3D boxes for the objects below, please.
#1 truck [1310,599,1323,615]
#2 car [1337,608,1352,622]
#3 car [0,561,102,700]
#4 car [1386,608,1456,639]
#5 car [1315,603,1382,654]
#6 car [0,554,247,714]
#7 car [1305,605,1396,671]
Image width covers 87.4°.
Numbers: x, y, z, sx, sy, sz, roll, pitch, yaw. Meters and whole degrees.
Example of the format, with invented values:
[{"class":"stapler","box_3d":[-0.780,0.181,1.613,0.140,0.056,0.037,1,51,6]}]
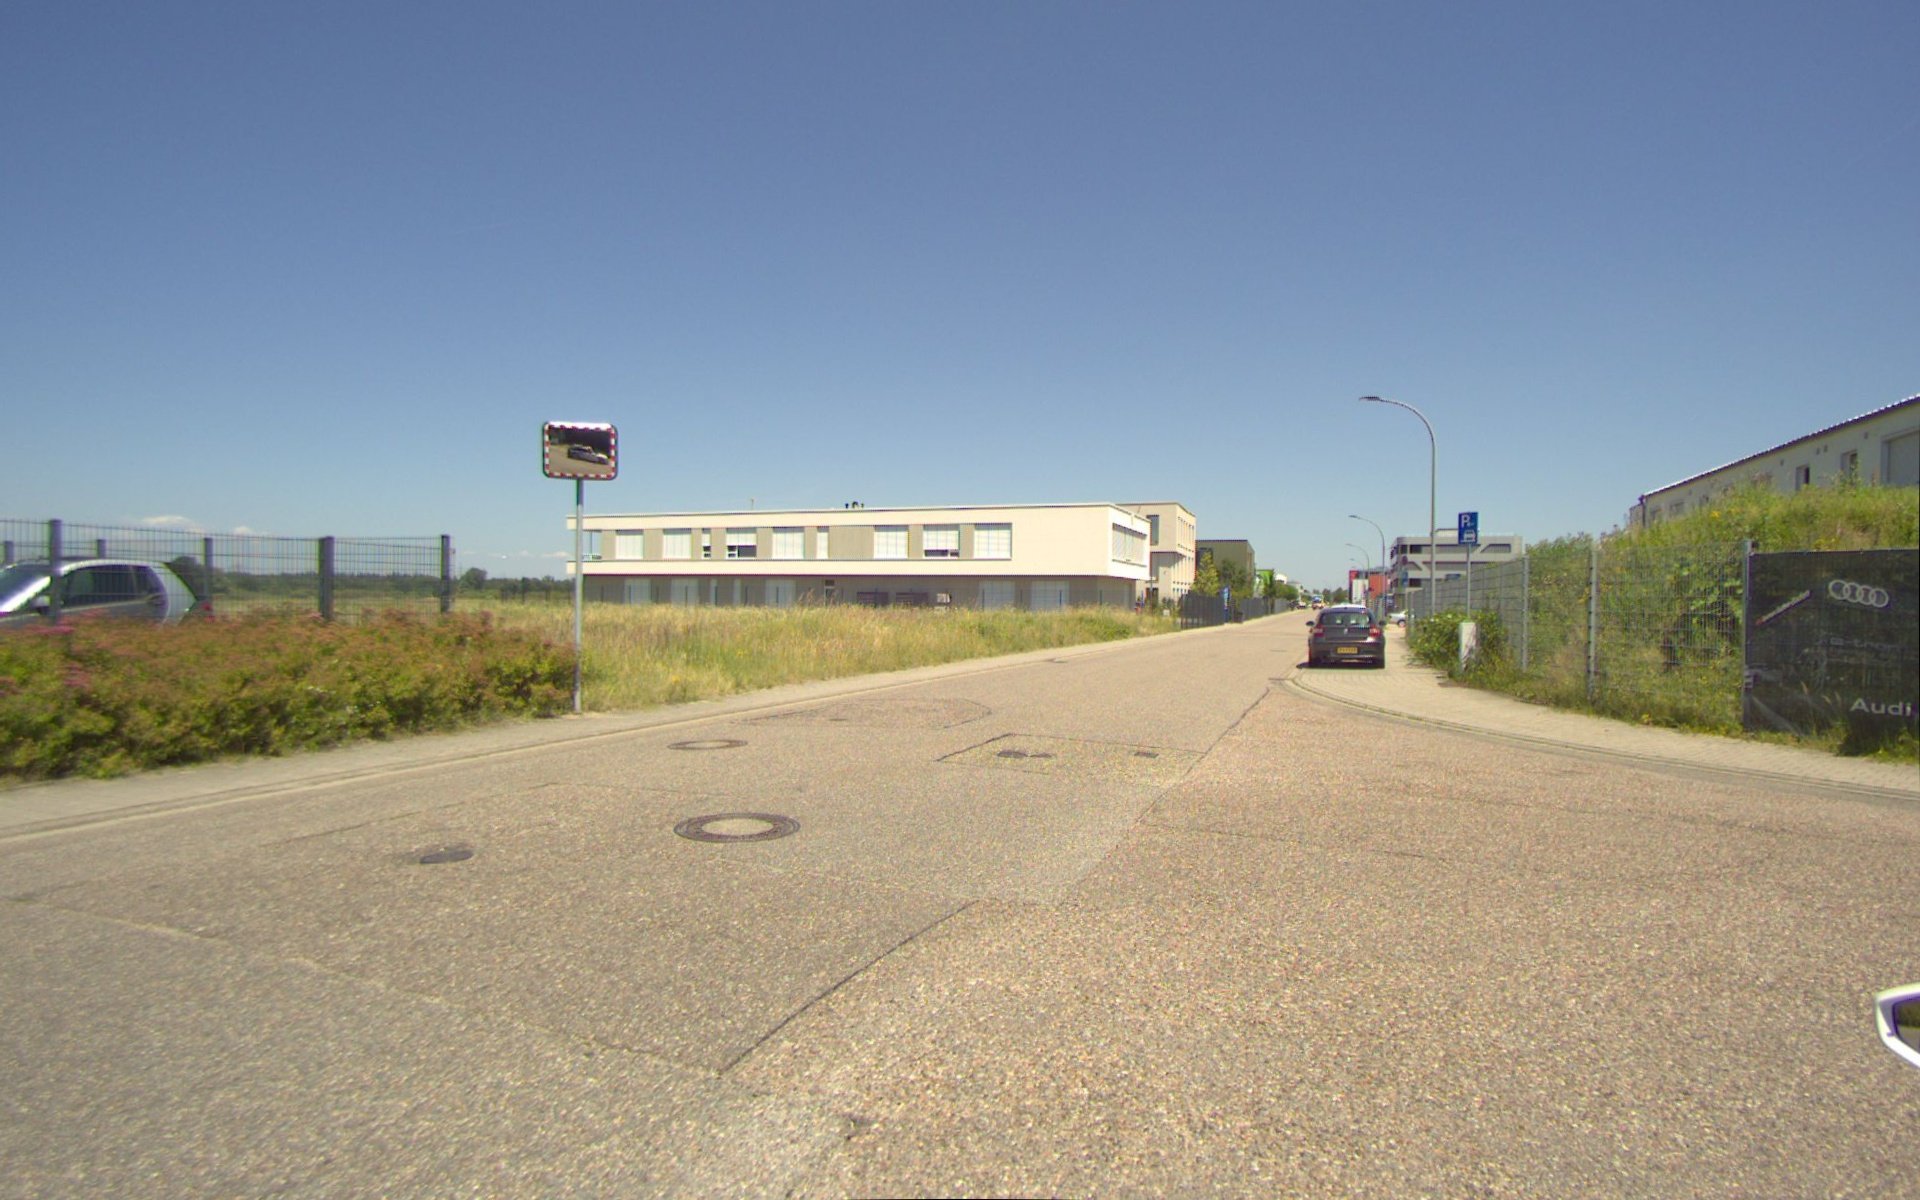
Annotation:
[{"class":"truck","box_3d":[79.596,1.548,224.631,2.556,3.592,10.501,-1,0,19]},{"class":"car","box_3d":[48.987,1.908,128.004,1.747,1.751,3.999,3,1,21]},{"class":"car","box_3d":[-11.983,0.334,10.689,1.795,1.561,4.000,1,0,19]},{"class":"car","box_3d":[34.329,1.739,74.913,4.552,2.040,2.604,3,1,25]},{"class":"car","box_3d":[12.940,0.910,33.306,1.877,1.567,3.997,-1,-1,24]},{"class":"car","box_3d":[-9.766,0.322,10.819,1.672,1.540,2.998,1,0,19]},{"class":"car","box_3d":[9.611,0.873,24.553,1.877,1.467,3.997,-1,-1,24]}]
